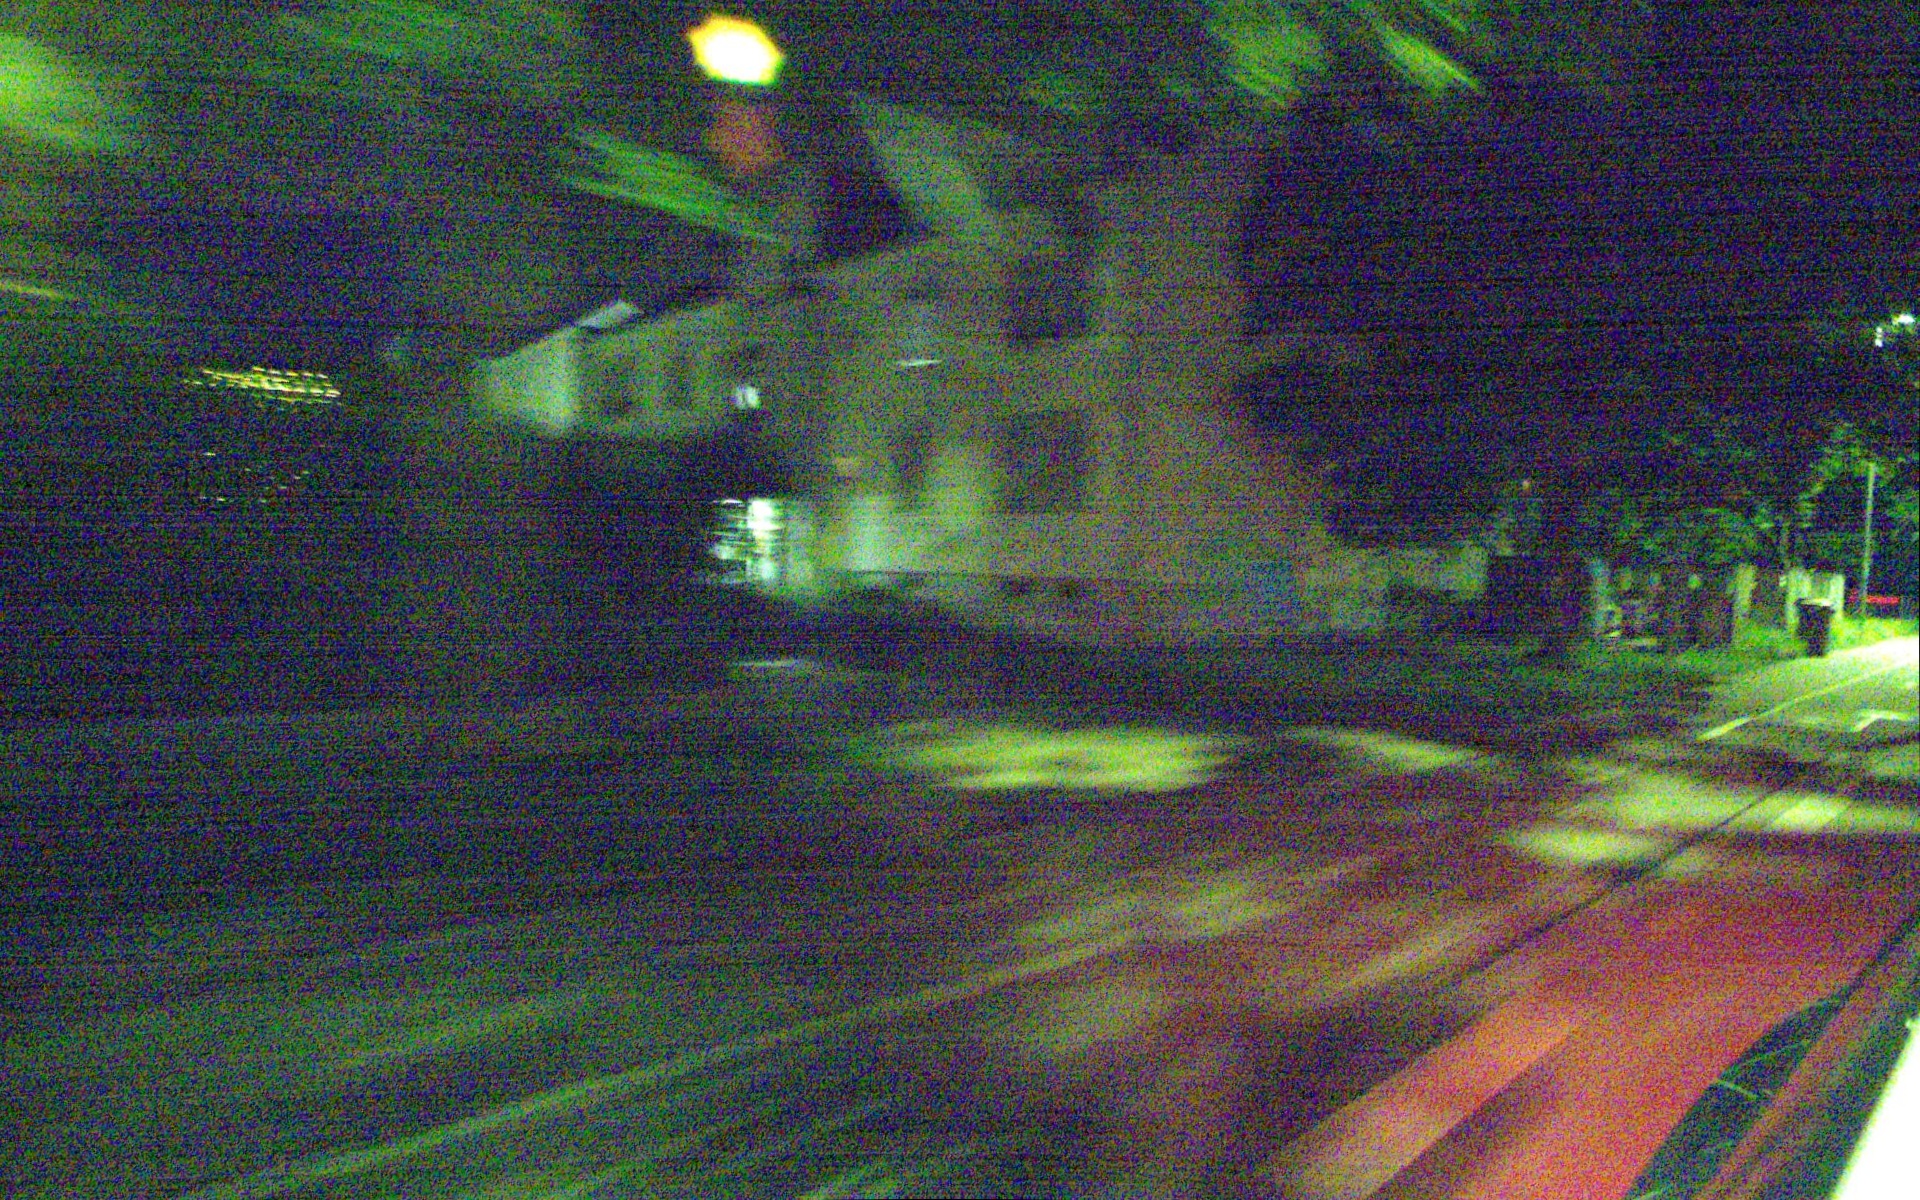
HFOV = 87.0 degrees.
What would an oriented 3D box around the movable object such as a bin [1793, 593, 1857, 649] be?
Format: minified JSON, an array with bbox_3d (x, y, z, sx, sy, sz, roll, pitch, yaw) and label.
[{"bbox_3d":[18.201,0.424,21.304,0.825,1.133,0.859,0,2,-38],"label":"movable object such as a bin"}]

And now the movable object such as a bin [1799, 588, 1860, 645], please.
[{"bbox_3d":[18.819,0.343,21.907,0.813,1.196,0.836,0,2,-38],"label":"movable object such as a bin"}]
